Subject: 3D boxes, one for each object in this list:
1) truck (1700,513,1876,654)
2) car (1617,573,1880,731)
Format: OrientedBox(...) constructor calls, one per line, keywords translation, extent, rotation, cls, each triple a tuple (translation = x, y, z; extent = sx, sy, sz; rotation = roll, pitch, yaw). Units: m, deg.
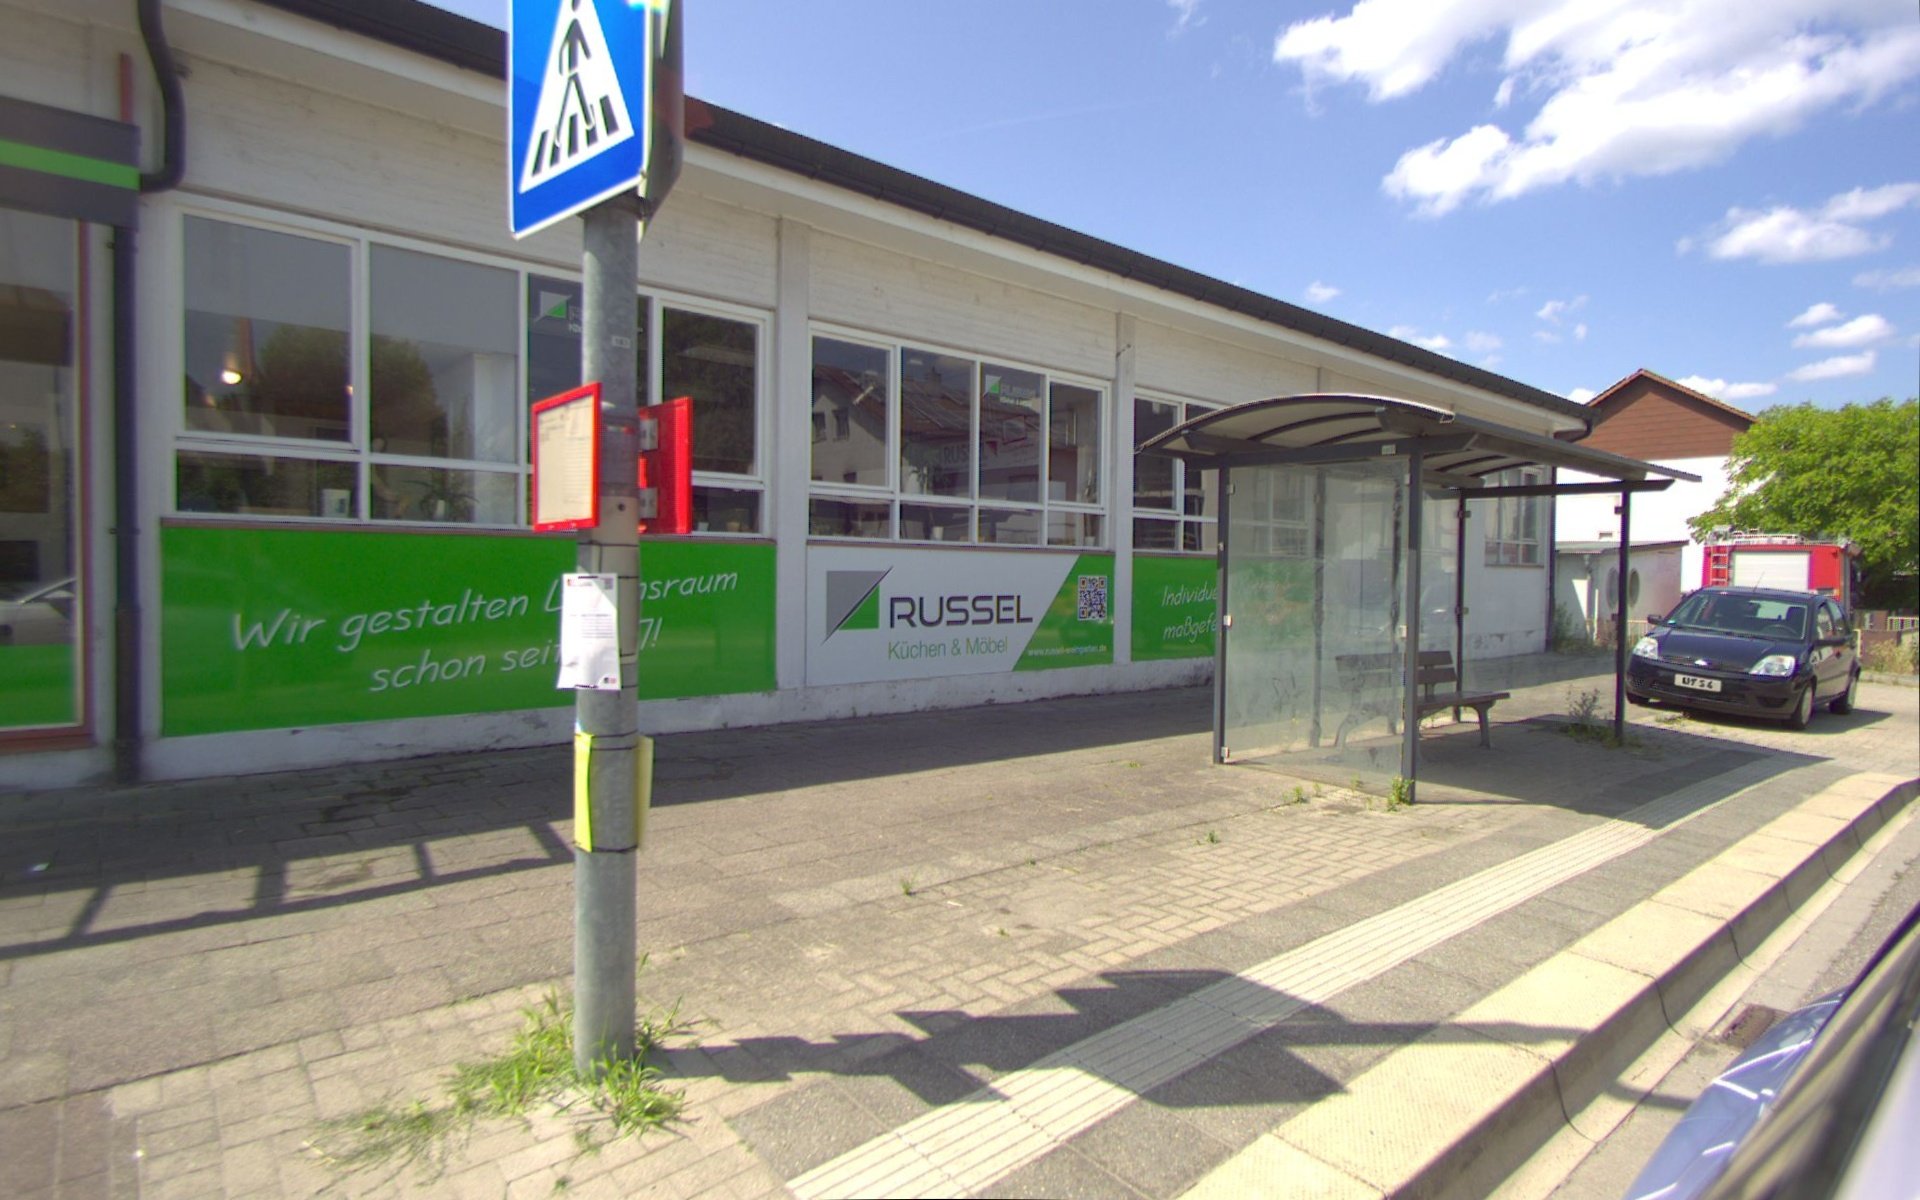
OrientedBox(translation=(19.094, -0.418, 23.199), extent=(2.573, 2.795, 6.235), rotation=(4, 3, 43), cls="truck")
OrientedBox(translation=(9.406, 0.498, 11.984), extent=(3.694, 1.511, 1.728), rotation=(0, 3, -41), cls="car")
